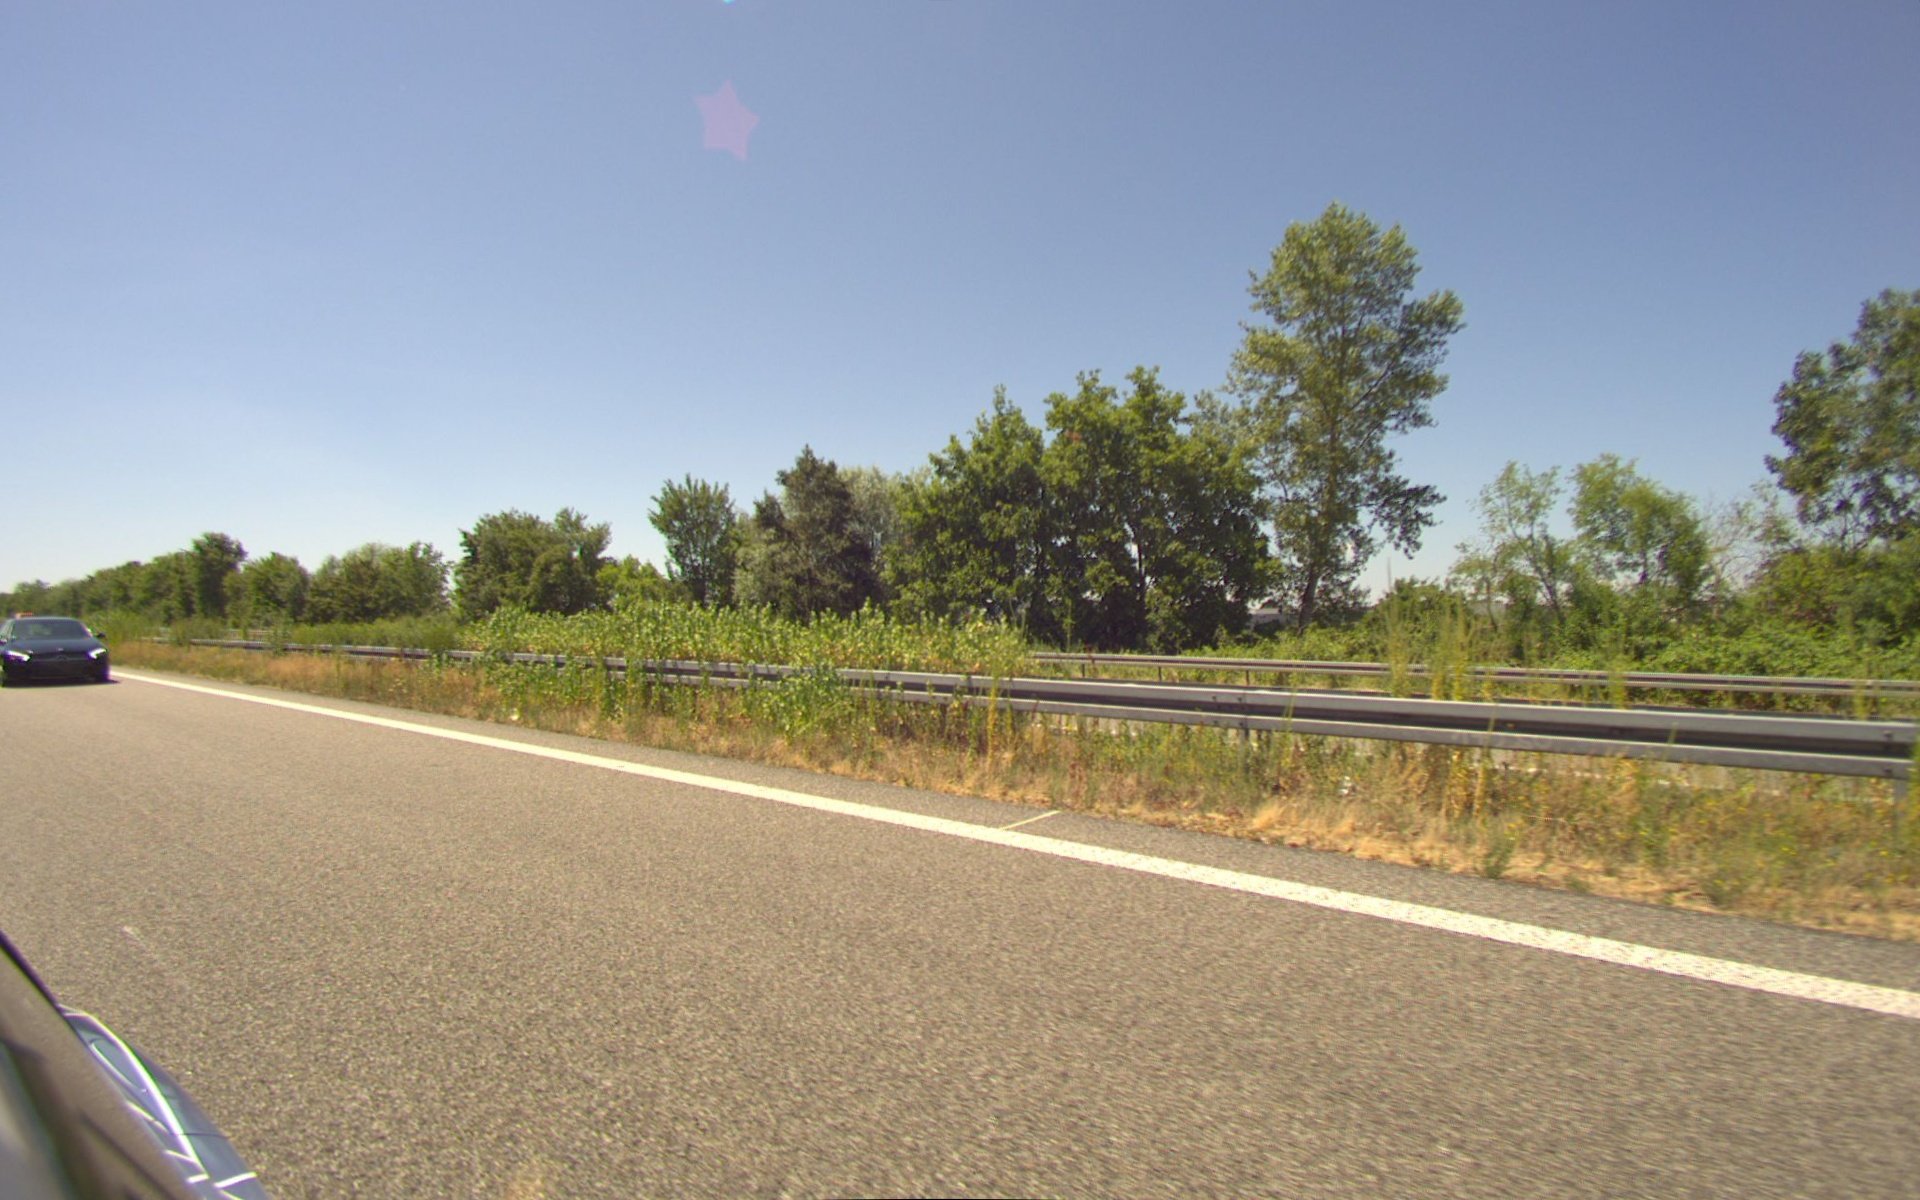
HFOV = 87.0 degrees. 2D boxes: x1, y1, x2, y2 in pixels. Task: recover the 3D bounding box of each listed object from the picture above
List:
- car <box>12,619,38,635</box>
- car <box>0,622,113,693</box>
[{"bbox_3d":[-139.988,4.058,151.476,4.950,2.455,2.160,-1,-2,39],"label":"car"},{"bbox_3d":[-20.243,1.213,22.352,4.051,1.422,1.773,-2,-2,41],"label":"car"}]
